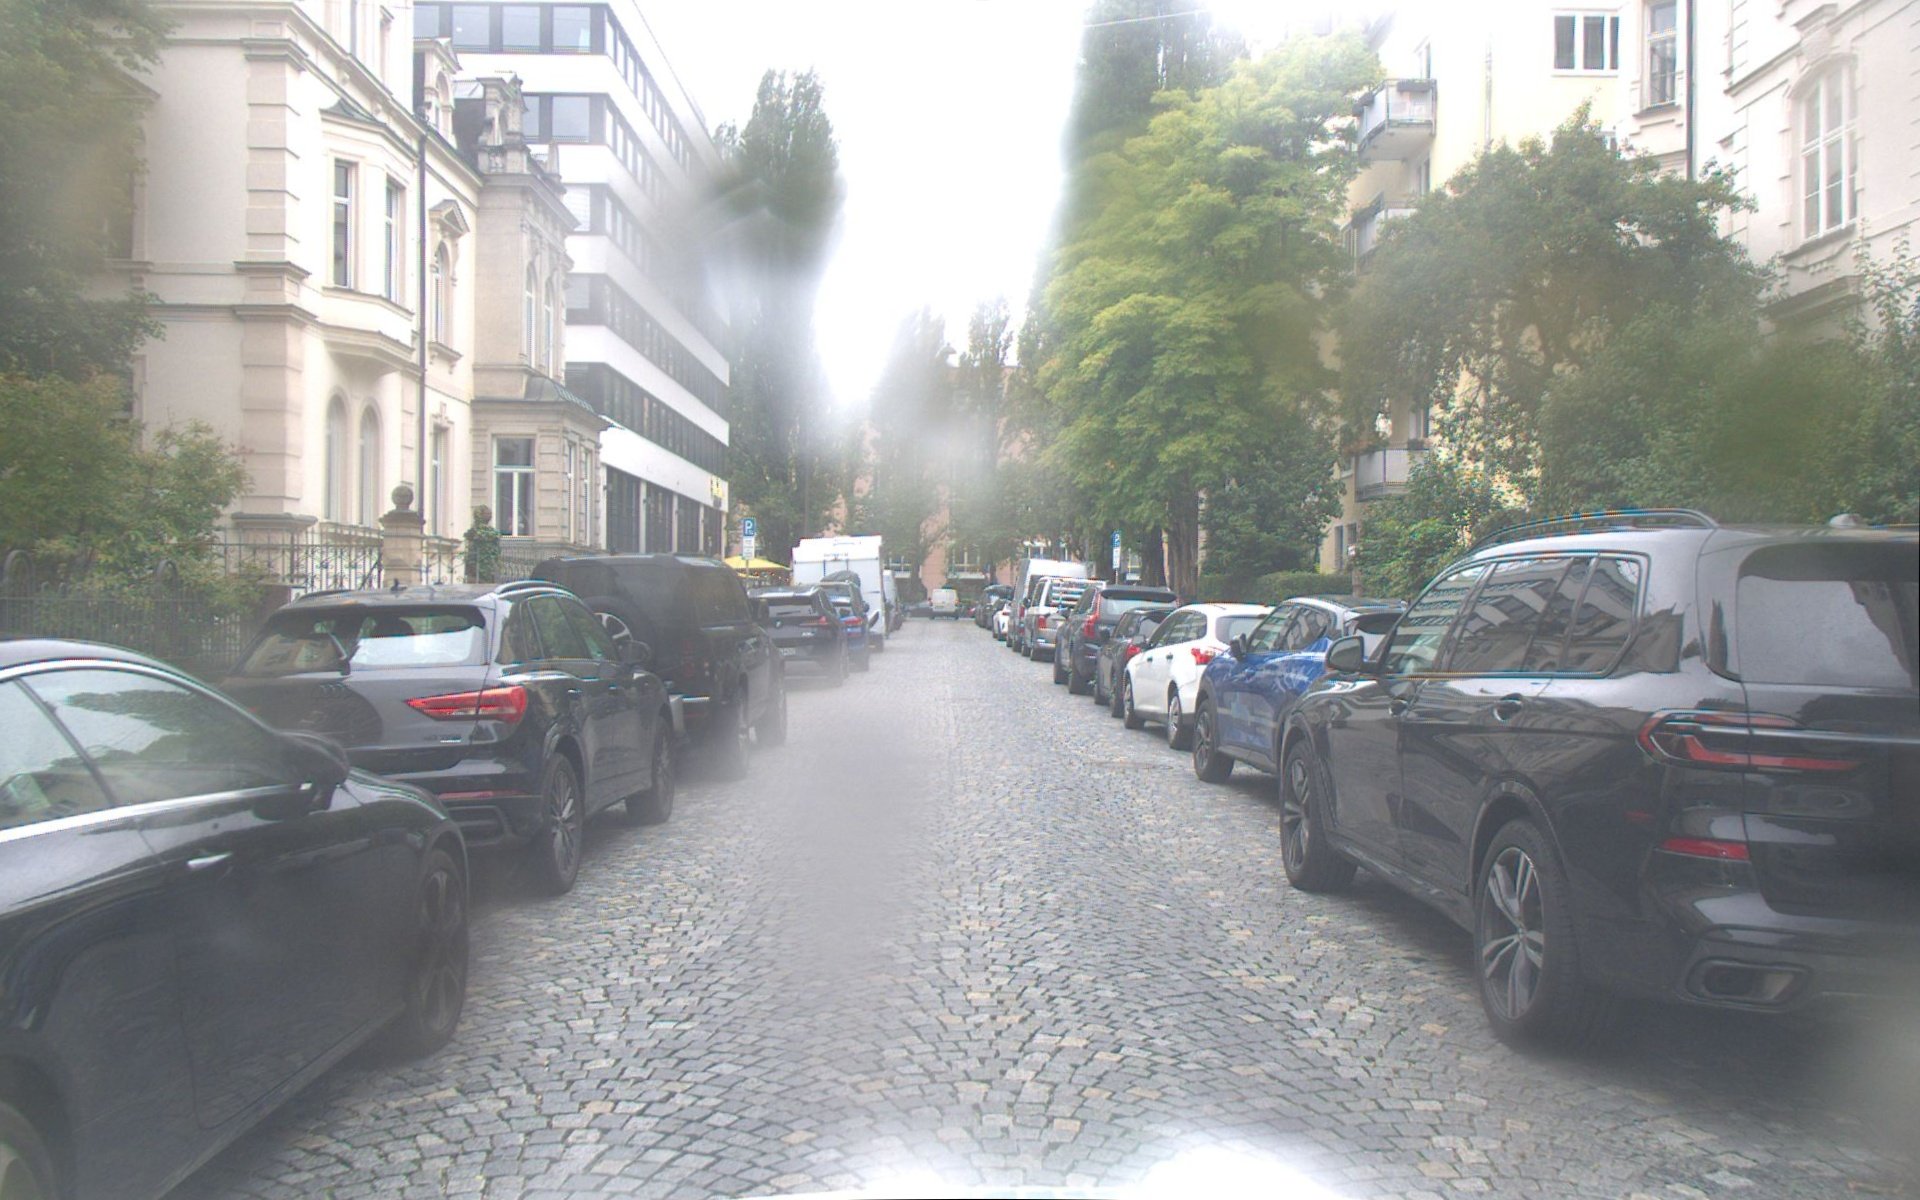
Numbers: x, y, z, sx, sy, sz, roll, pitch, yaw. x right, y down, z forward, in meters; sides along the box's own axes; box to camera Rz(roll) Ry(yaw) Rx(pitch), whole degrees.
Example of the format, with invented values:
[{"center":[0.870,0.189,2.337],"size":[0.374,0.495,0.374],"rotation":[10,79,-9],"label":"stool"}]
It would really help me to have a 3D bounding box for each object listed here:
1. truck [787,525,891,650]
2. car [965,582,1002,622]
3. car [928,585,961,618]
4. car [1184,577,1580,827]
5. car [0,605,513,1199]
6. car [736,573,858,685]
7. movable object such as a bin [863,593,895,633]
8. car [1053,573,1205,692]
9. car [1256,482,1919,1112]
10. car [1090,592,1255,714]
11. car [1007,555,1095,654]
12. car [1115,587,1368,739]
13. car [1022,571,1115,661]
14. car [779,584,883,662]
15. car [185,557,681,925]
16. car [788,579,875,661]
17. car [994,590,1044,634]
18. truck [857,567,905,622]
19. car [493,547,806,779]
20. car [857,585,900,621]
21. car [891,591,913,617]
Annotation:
[{"center":[-3.179,-0.350,44.887],"size":[2.458,3.084,6.382],"rotation":[-2,1,-2],"label":"truck"},{"center":[1.207,0.098,85.327],"size":[1.829,1.995,4.000],"rotation":[0,0,0],"label":"car"},{"center":[-0.932,0.080,102.087],"size":[1.955,1.970,4.000],"rotation":[0,0,0],"label":"car"},{"center":[2.966,0.654,12.585],"size":[1.675,1.508,4.247],"rotation":[3,0,-3],"label":"car"},{"center":[-2.451,0.744,3.712],"size":[1.737,1.454,4.390],"rotation":[1,0,-1],"label":"car"},{"center":[-2.709,0.464,28.302],"size":[1.738,1.748,4.389],"rotation":[1,0,-2],"label":"car"},{"center":[-2.861,0.463,58.561],"size":[1.042,1.387,1.289],"rotation":[1,0,-1],"label":"movable object such as a bin"},{"center":[2.719,0.514,27.737],"size":[1.923,1.789,4.952],"rotation":[1,0,-1],"label":"car"},{"center":[2.761,0.556,7.255],"size":[1.837,1.702,5.489],"rotation":[1,0,-1],"label":"car"},{"center":[2.842,0.675,22.878],"size":[1.649,1.478,3.965],"rotation":[2,0,-1],"label":"car"},{"center":[2.476,0.084,46.178],"size":[1.857,2.468,5.609],"rotation":[4,0,-2],"label":"car"},{"center":[2.935,0.625,18.206],"size":[1.739,1.454,4.387],"rotation":[1,0,-4],"label":"car"},{"center":[2.600,0.388,40.624],"size":[1.764,1.983,4.859],"rotation":[3,0,-1],"label":"car"},{"center":[-2.552,0.450,33.637],"size":[1.901,1.485,4.056],"rotation":[1,0,-2],"label":"car"},{"center":[-2.726,0.651,9.518],"size":[1.547,1.618,4.055],"rotation":[-2,-1,-1],"label":"car"},{"center":[-2.951,0.430,38.731],"size":[1.856,1.781,4.166],"rotation":[-1,0,-2],"label":"car"},{"center":[2.059,0.429,58.804],"size":[1.567,1.512,3.478],"rotation":[1,0,-1],"label":"car"},{"center":[-3.496,-0.225,73.609],"size":[1.953,2.388,4.067],"rotation":[1,0,-1],"label":"truck"},{"center":[-2.615,0.464,15.119],"size":[1.942,1.768,4.722],"rotation":[1,0,0],"label":"car"},{"center":[-3.403,0.134,69.536],"size":[1.628,1.481,3.547],"rotation":[1,0,-1],"label":"car"},{"center":[-3.487,0.245,99.639],"size":[1.250,1.568,3.118],"rotation":[1,0,-1],"label":"car"}]
